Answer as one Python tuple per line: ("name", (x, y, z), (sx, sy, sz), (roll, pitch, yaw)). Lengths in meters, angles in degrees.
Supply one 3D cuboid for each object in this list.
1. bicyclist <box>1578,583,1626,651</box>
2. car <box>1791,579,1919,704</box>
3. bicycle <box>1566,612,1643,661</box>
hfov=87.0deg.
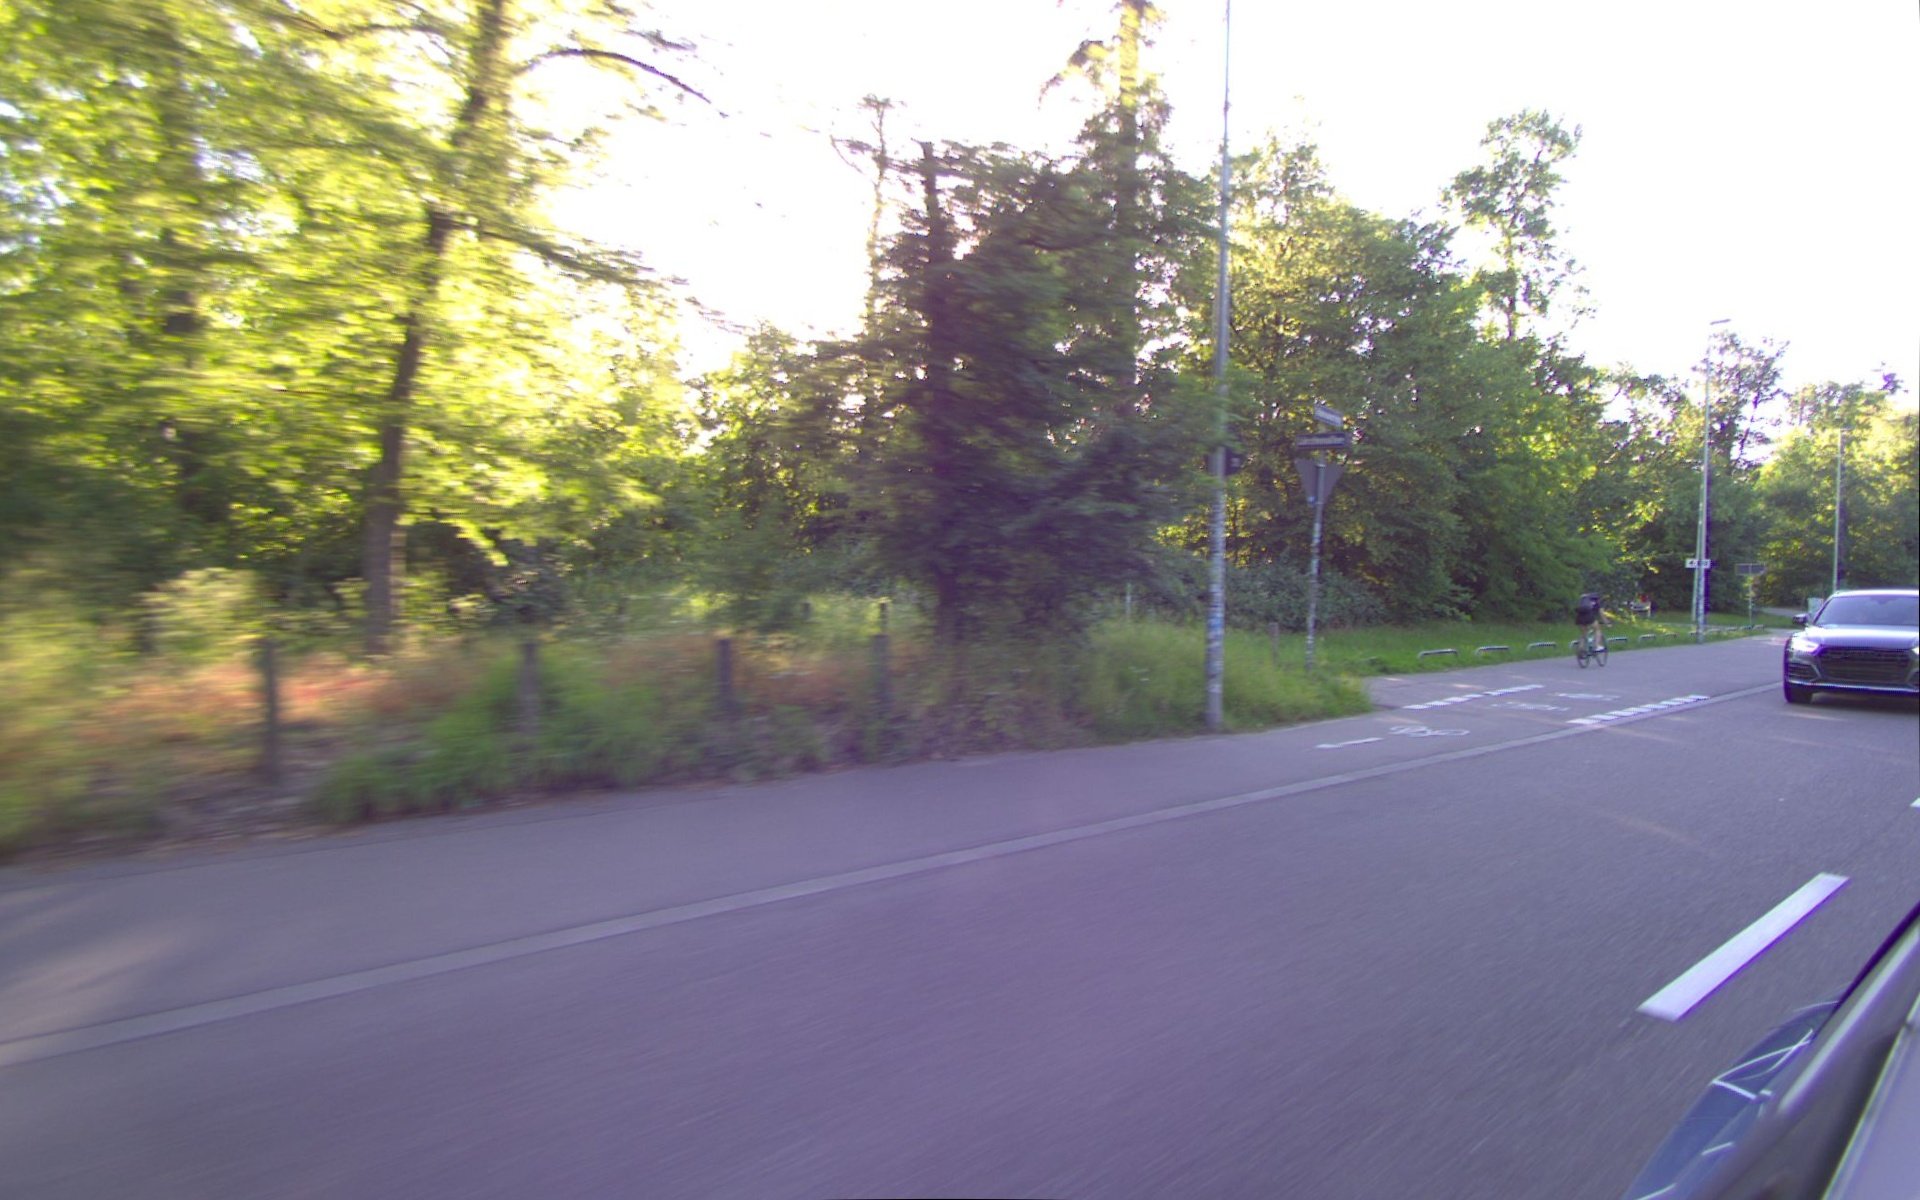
("bicyclist", (13.572, 0.341, 21.394), (0.860, 1.403, 0.481), (0, 0, -26))
("car", (13.887, 0.515, 14.915), (4.466, 1.625, 1.896), (-1, 1, -42))
("bicycle", (13.653, 0.754, 21.425), (1.721, 0.979, 0.553), (0, 1, -26))
